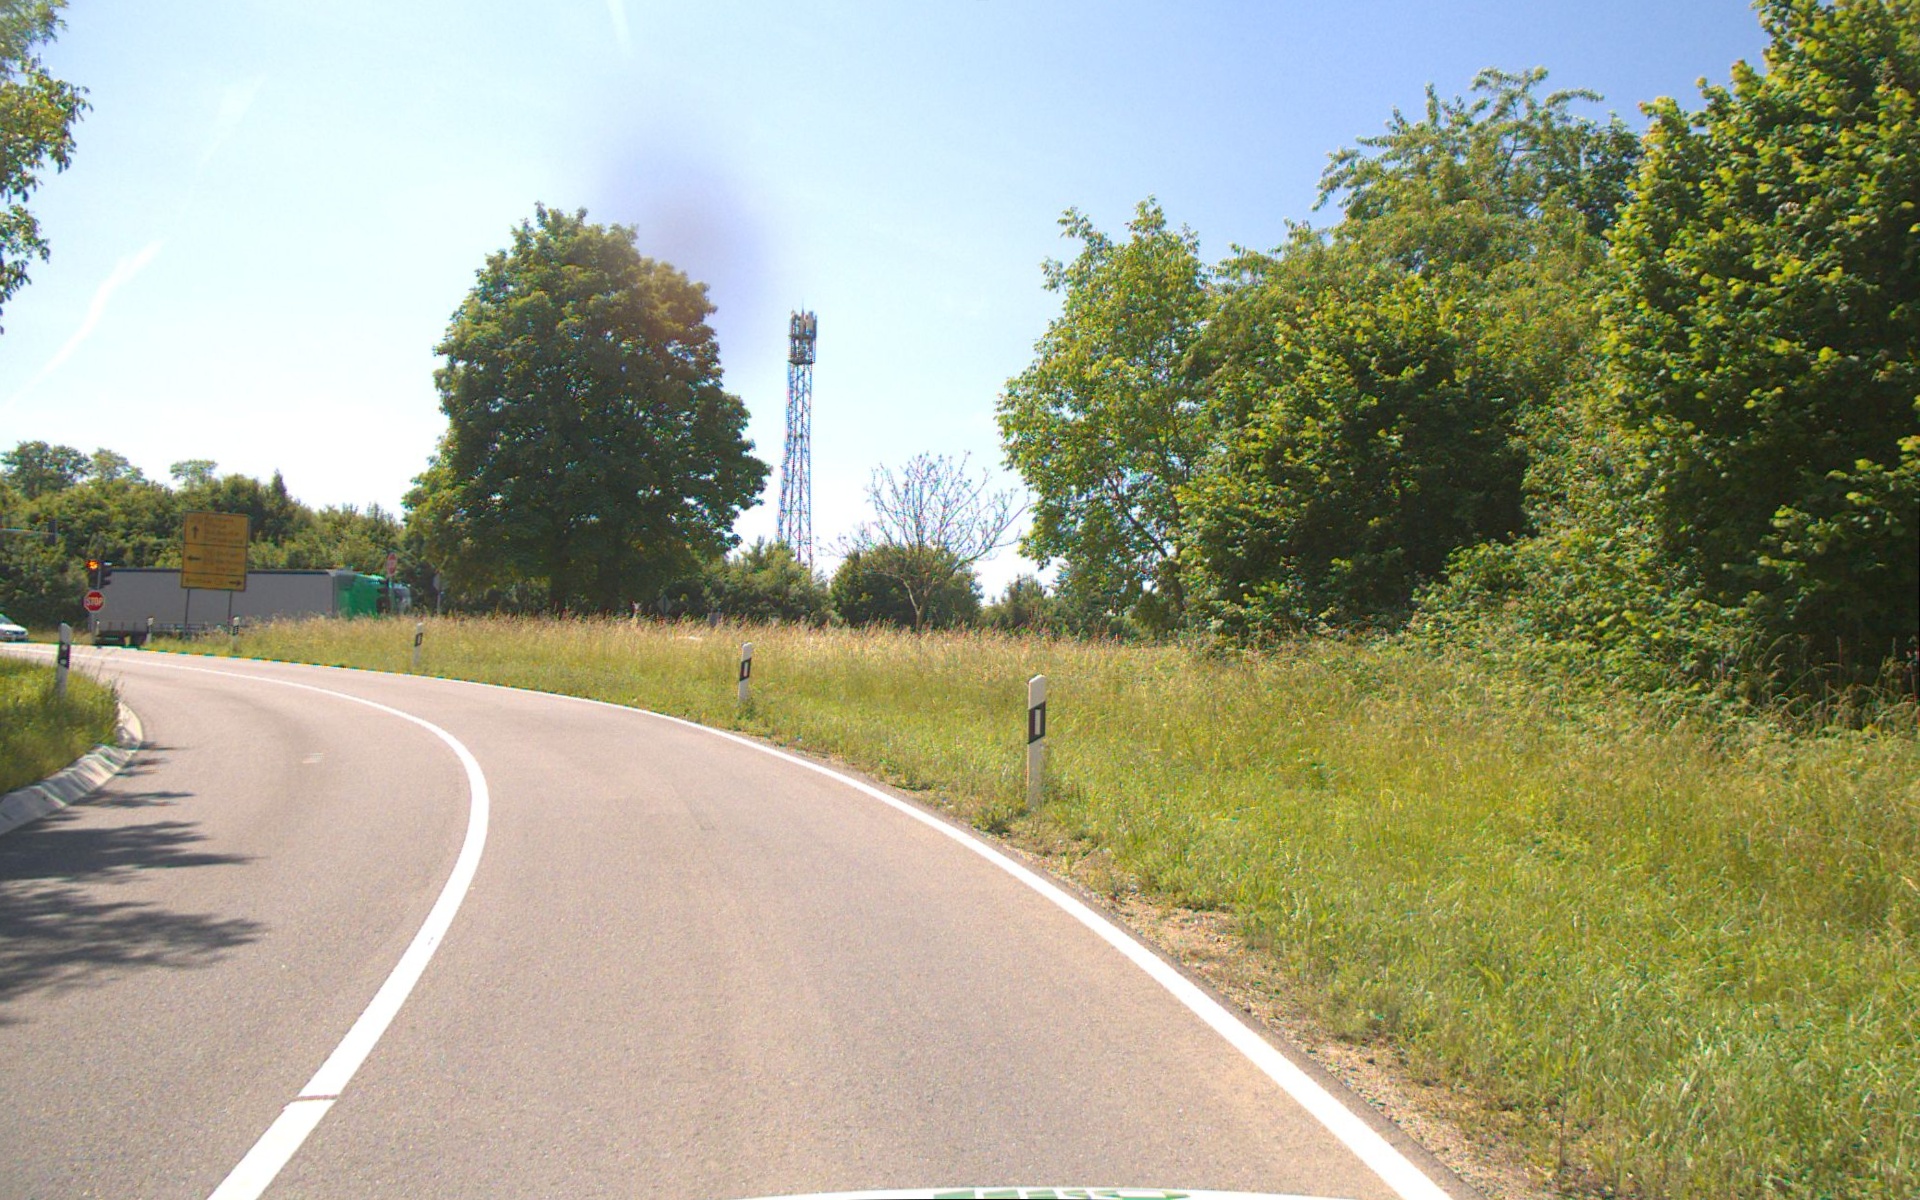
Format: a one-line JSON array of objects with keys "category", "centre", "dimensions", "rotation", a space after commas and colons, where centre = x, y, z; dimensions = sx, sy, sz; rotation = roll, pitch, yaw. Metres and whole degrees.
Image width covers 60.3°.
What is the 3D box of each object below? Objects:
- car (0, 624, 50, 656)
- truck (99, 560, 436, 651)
[{"category": "car", "centre": [-49.381, 2.061, 85.543], "dimensions": [3.610, 1.603, 1.722], "rotation": [0, -1, -9]}, {"category": "truck", "centre": [-34.349, 0.257, 82.058], "dimensions": [16.276, 4.246, 3.138], "rotation": [1, -2, 11]}]
